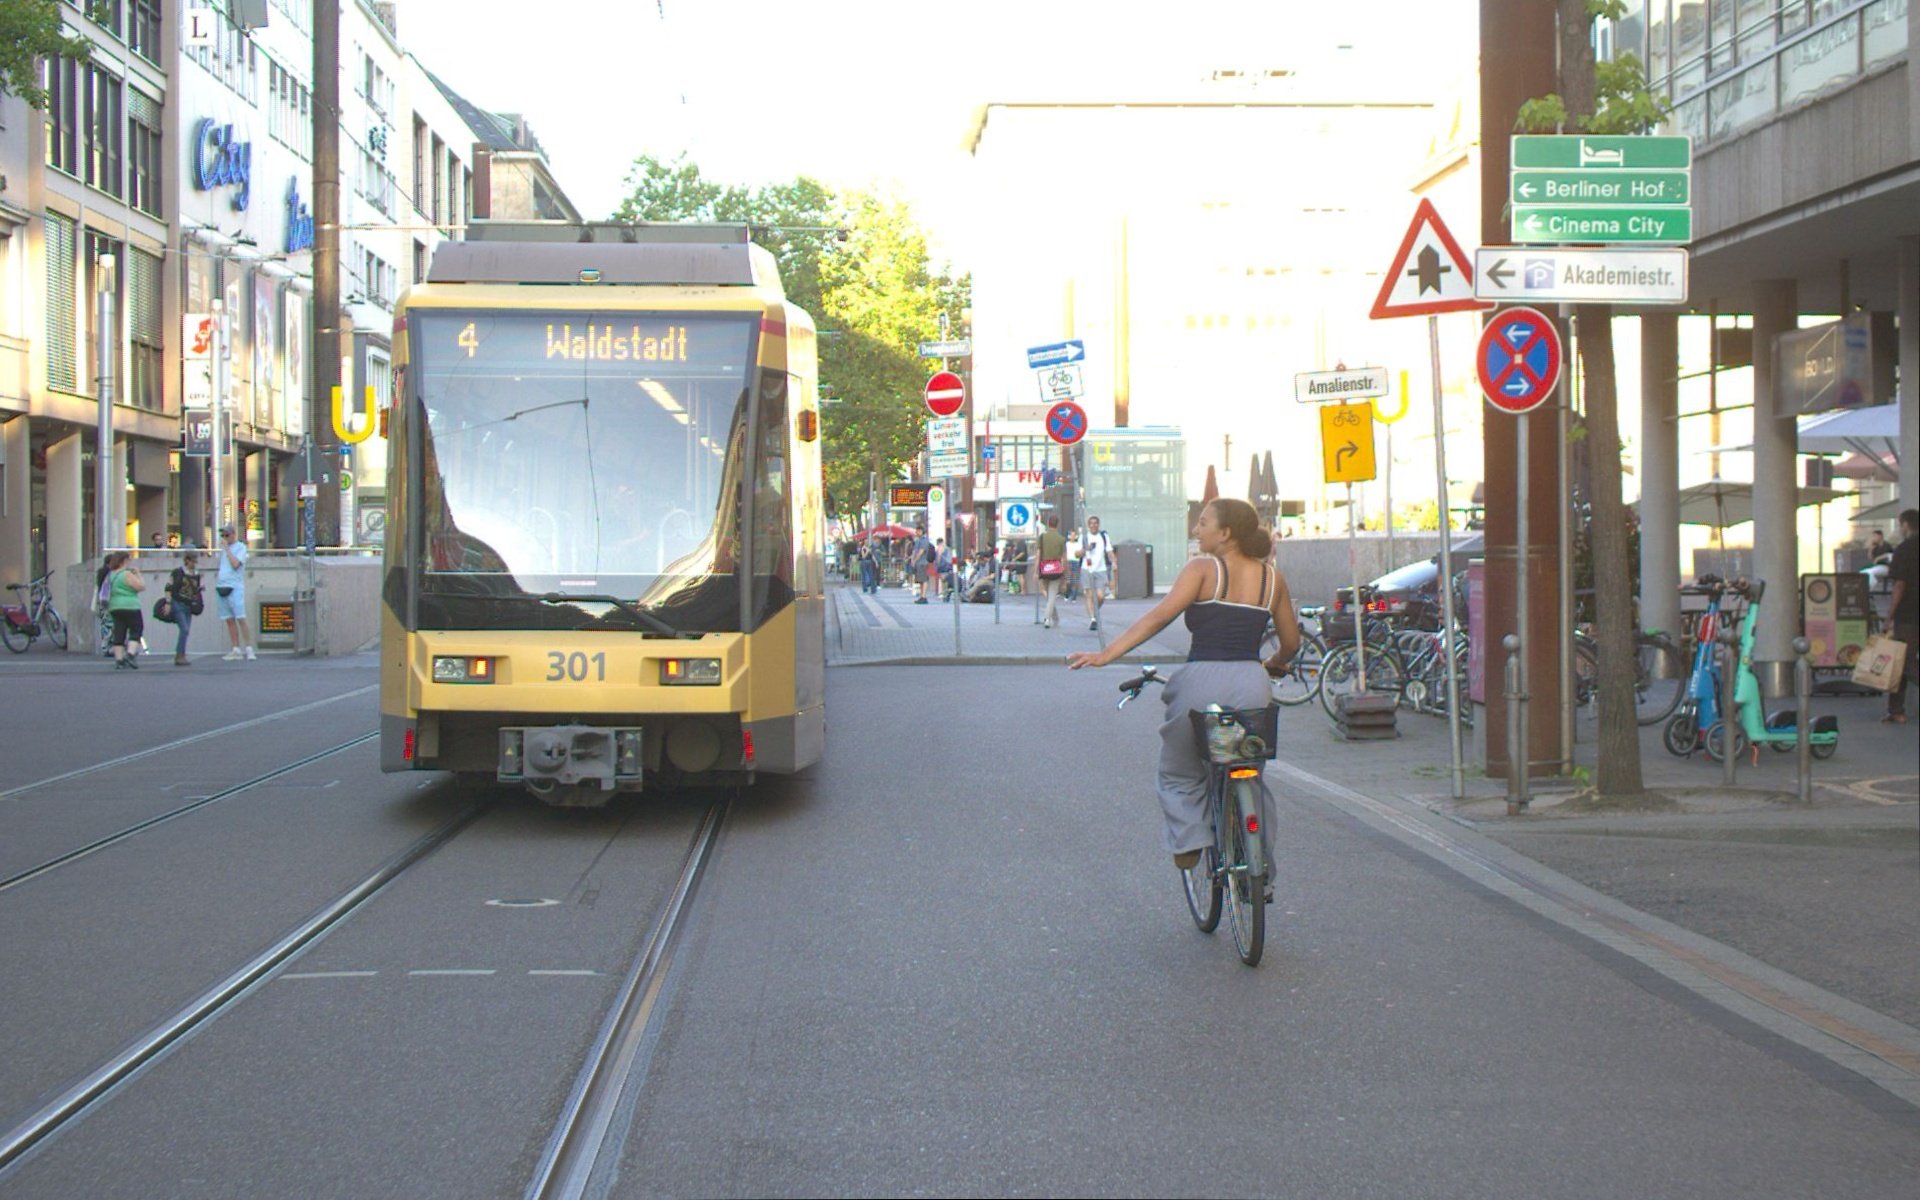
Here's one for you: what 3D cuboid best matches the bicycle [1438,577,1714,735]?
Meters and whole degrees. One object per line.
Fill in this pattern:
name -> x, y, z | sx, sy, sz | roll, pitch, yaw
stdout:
bicycle -> 4.889, 0.436, 27.338 | 1.995, 1.151, 0.726 | -2, 1, -6

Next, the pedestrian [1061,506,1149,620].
pedestrian -> 2.382, -0.609, 56.630 | 1.013, 1.857, 1.042 | 0, 1, -33

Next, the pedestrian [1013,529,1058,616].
pedestrian -> 1.579, -0.581, 71.910 | 0.733, 1.817, 0.820 | 0, 1, -16

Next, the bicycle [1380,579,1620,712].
bicycle -> 4.747, 0.393, 30.286 | 1.914, 1.074, 0.763 | -2, 1, -6

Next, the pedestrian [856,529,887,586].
pedestrian -> -2.631, -1.264, 101.889 | 0.767, 1.655, 0.794 | 0, 1, 10

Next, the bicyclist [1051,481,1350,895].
bicyclist -> 0.896, 0.317, 13.072 | 0.997, 1.497, 0.857 | 2, 1, -3

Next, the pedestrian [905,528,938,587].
pedestrian -> -1.096, -1.219, 98.092 | 0.792, 1.655, 0.769 | 0, 1, 10

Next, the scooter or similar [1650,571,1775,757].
scooter or similar -> 5.333, 0.438, 24.333 | 0.393, 1.247, 1.189 | 0, 2, 36

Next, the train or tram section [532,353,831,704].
train or tram section -> -2.912, -0.820, 39.628 | 2.800, 3.308, 14.510 | 0, 1, -2

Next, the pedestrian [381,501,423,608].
pedestrian -> -10.090, -0.823, 62.127 | 0.713, 1.918, 0.709 | 0, 0, -7

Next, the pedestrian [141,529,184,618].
pedestrian -> -15.464, -0.518, 66.670 | 0.713, 1.719, 0.709 | 0, 0, -3

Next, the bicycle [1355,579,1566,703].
bicycle -> 4.747, 0.382, 32.662 | 1.852, 1.105, 0.667 | -2, 1, -4

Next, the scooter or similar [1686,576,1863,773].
scooter or similar -> 5.431, 0.482, 22.914 | 1.112, 1.247, 0.497 | -2, 2, -32

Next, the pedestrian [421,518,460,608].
pedestrian -> -9.854, -0.706, 65.203 | 0.713, 1.692, 0.786 | 0, 0, -8

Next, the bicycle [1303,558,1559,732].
bicycle -> 3.864, 0.356, 28.270 | 1.914, 1.328, 0.726 | -2, 1, -6

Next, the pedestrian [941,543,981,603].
pedestrian -> 0.018, -0.714, 89.945 | 0.768, 1.573, 0.793 | 1, 1, 28

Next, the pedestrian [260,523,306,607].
pedestrian -> -12.817, -0.654, 65.109 | 0.626, 1.583, 0.605 | 0, 0, -44

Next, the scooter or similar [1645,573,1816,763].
scooter or similar -> 5.315, 0.457, 23.697 | 1.187, 1.247, 0.393 | -2, 2, -31

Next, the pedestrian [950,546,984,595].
pedestrian -> 0.176, -0.737, 85.874 | 0.792, 1.217, 0.769 | 0, 1, -5

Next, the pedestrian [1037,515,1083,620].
pedestrian -> 1.659, -0.536, 57.104 | 0.718, 1.719, 0.709 | 0, 0, -2

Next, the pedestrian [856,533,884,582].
pedestrian -> -3.028, -1.424, 115.561 | 0.792, 1.655, 0.769 | 0, 1, 10

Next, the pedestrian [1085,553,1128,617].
pedestrian -> 3.816, -0.401, 89.660 | 0.767, 1.655, 0.794 | -1, 1, -43

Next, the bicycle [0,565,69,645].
bicycle -> -13.639, 0.059, 50.589 | 0.498, 1.104, 1.800 | 0, 2, 3

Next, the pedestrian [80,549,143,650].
pedestrian -> -12.124, -0.004, 49.130 | 0.555, 1.429, 0.684 | 0, 0, 36

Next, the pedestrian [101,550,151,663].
pedestrian -> -11.106, 0.087, 45.792 | 0.603, 1.489, 0.555 | 0, 0, -10

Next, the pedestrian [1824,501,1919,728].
pedestrian -> 7.180, 0.101, 26.520 | 0.763, 1.713, 0.923 | -1, 0, -1

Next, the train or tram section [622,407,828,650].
train or tram section -> -3.495, -1.117, 54.138 | 2.800, 3.308, 14.510 | 0, 1, -2

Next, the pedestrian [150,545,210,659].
pedestrian -> -10.550, 0.026, 46.522 | 0.684, 1.536, 0.605 | 0, 0, -3

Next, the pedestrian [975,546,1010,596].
pedestrian -> 0.807, -0.720, 85.086 | 0.792, 1.217, 0.769 | 0, 1, -5

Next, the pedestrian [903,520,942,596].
pedestrian -> -0.899, -1.007, 82.160 | 0.733, 1.817, 0.820 | 0, 1, -16

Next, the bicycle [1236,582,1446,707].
bicycle -> 3.587, 0.413, 32.442 | 1.852, 1.105, 0.667 | -2, 1, -4

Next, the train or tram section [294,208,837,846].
train or tram section -> -2.337, -0.524, 25.133 | 2.800, 3.308, 14.510 | 0, 1, -2

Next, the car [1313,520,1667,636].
car -> 6.683, -0.268, 43.458 | 4.038, 1.404, 1.776 | 0, 0, -13

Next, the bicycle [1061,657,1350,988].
bicycle -> 0.896, 0.802, 13.156 | 0.815, 1.069, 2.114 | 2, 1, -3

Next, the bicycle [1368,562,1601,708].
bicycle -> 4.725, 0.310, 31.031 | 1.914, 1.218, 0.763 | -2, 1, -6

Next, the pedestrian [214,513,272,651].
pedestrian -> -10.075, -0.253, 48.338 | 0.773, 1.919, 0.709 | 0, 0, -10
